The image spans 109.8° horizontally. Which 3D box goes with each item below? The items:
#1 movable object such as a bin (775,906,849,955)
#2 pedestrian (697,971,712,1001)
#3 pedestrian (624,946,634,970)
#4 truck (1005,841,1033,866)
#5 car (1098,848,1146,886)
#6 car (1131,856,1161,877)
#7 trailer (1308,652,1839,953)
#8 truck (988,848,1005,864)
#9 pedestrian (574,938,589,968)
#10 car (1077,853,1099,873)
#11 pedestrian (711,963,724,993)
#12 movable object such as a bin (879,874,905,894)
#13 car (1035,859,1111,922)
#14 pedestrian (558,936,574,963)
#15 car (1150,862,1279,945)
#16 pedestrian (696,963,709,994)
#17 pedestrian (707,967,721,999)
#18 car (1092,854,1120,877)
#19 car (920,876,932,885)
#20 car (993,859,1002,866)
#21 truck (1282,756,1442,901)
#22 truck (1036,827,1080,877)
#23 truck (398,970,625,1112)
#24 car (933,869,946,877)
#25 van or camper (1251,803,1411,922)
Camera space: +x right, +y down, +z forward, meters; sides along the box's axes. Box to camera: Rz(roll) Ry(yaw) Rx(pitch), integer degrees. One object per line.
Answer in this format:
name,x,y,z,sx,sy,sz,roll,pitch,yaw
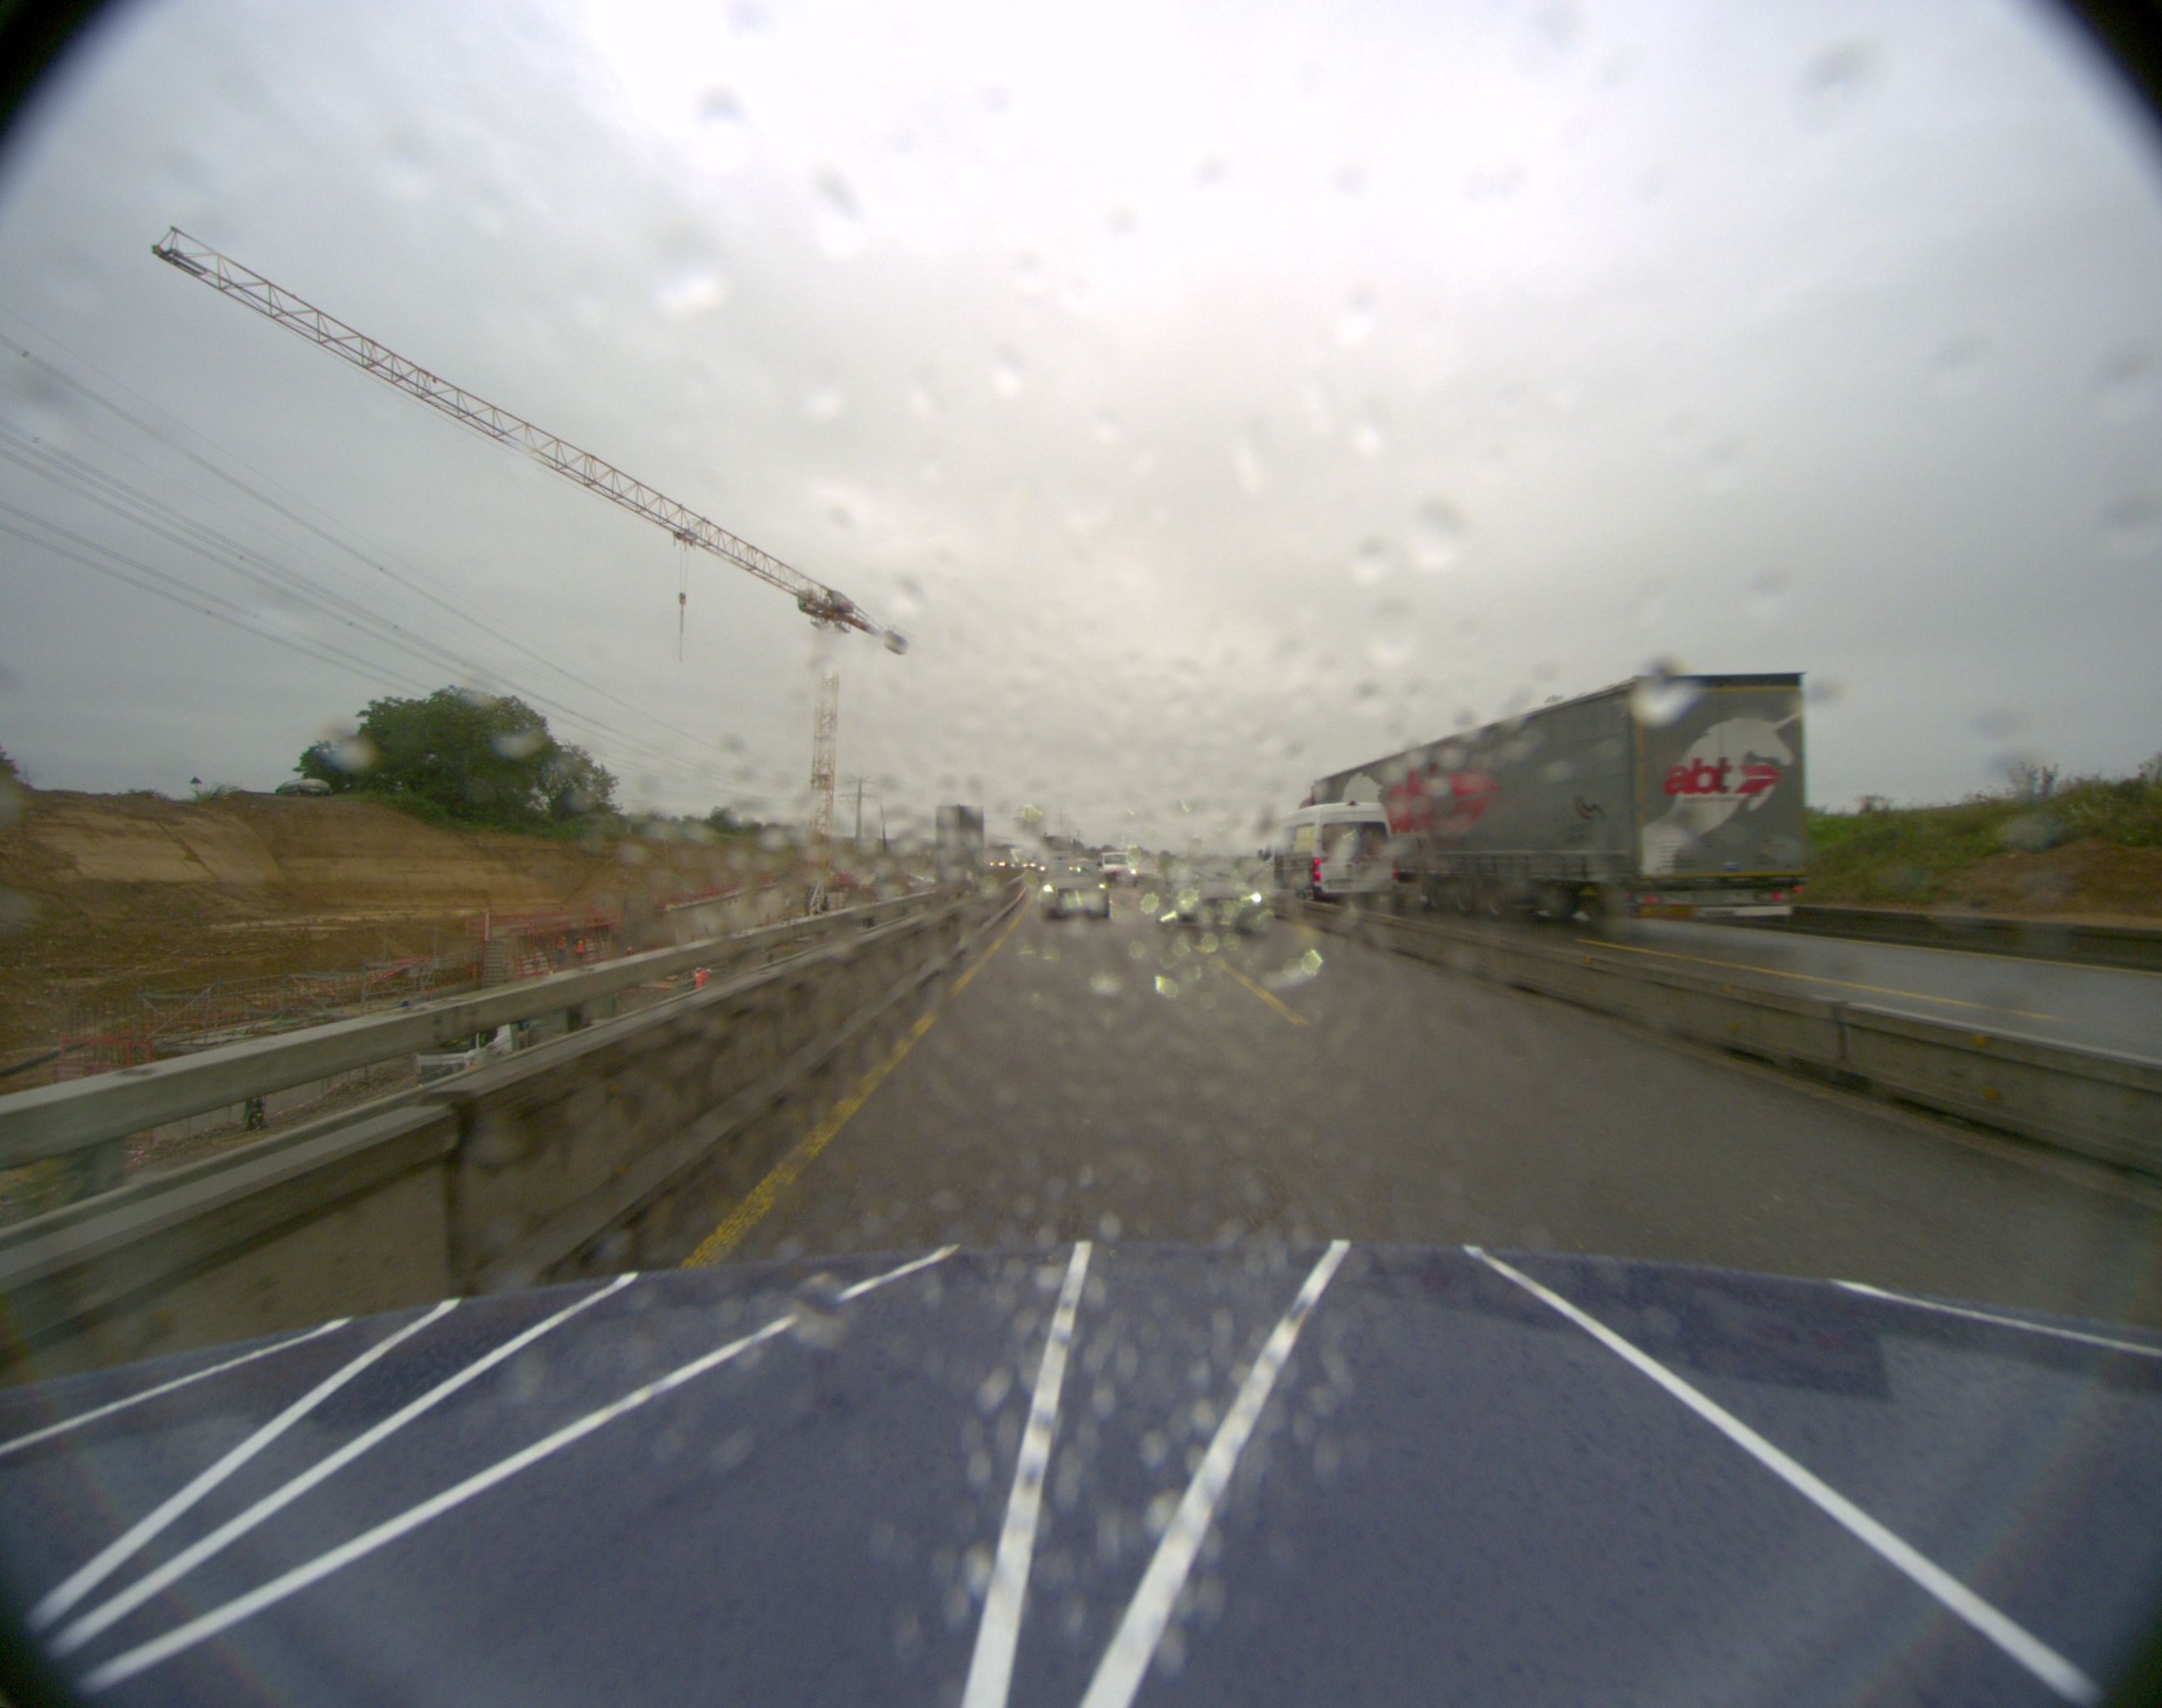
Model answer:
movable object such as a bin,-23.328,6.553,66.347,3.515,3.405,6.654,-1,2,6
pedestrian,-23.473,8.240,47.365,0.603,1.759,0.481,3,1,-3
pedestrian,-35.124,8.096,59.093,0.489,1.750,0.481,1,1,-3
truck,-11.973,-0.066,145.409,4.321,4.319,13.397,-2,0,-8
car,2.185,0.667,41.853,2.070,1.933,5.154,-1,1,-3
car,4.963,0.917,58.683,1.748,1.494,4.633,-2,0,-2
trailer,9.585,-0.719,19.015,3.003,4.395,15.701,0,0,0
truck,-21.481,0.526,193.180,3.546,3.871,8.332,-2,0,-3
pedestrian,-35.501,7.039,54.014,0.489,2.087,0.481,-6,1,-3
car,0.661,0.834,73.347,1.790,1.744,3.999,-2,0,-3
pedestrian,-23.396,7.970,48.878,0.603,1.894,0.481,1,1,-3
movable object such as a bin,-32.195,5.135,129.605,3.502,2.865,3.998,5,0,-3
car,-0.186,0.919,20.973,1.874,1.481,4.260,-1,0,0
pedestrian,-35.564,6.594,52.478,0.488,1.793,0.583,-5,2,37
car,2.597,0.912,15.740,1.805,1.375,4.086,-1,1,-2
pedestrian,-24.464,8.053,49.143,0.603,1.894,0.481,2,1,-3
pedestrian,-23.222,8.149,48.112,0.603,1.894,0.614,1,1,-3
car,1.763,0.824,55.413,1.626,1.583,3.999,-2,0,-3
car,-30.405,5.130,149.044,1.860,1.609,4.078,0,1,-4
car,-19.099,1.863,173.539,1.790,1.418,3.999,-2,0,-3
truck,9.515,-0.775,26.673,2.987,4.383,6.931,0,0,0
truck,-1.829,-0.168,56.980,2.857,3.462,8.639,-1,1,-4
truck,-23.499,7.509,32.270,2.709,3.591,9.072,1,1,1
car,-33.032,4.379,177.489,2.351,1.609,4.857,0,1,-4
van or camper,6.286,0.186,20.030,2.284,2.599,5.828,-2,0,1
